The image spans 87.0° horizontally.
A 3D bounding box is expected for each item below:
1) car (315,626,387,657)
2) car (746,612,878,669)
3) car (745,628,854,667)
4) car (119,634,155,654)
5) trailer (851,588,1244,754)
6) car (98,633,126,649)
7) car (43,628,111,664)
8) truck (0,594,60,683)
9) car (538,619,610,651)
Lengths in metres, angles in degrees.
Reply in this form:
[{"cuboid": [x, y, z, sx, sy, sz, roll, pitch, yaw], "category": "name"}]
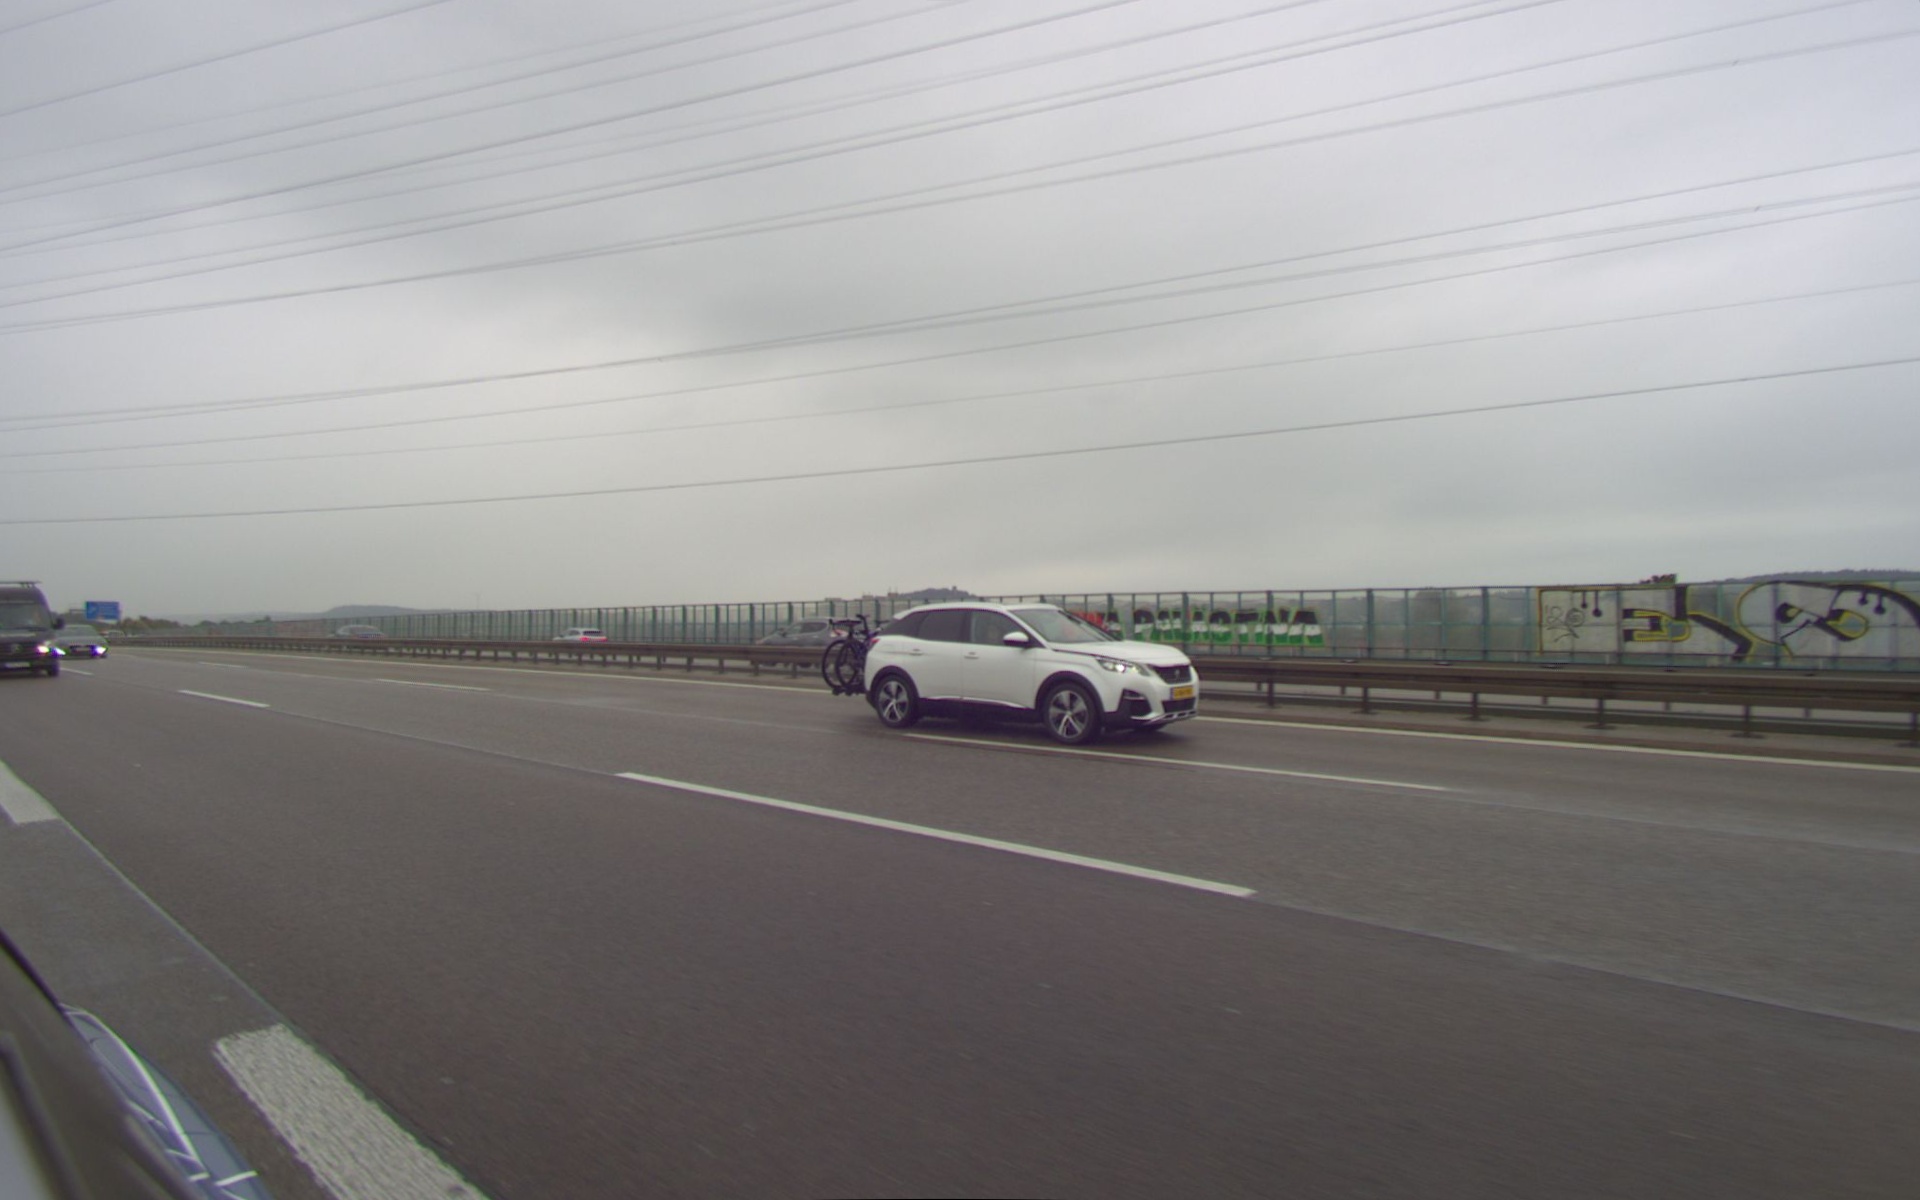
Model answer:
[{"cuboid": [-31.604, 2.141, 52.482, 4.465, 1.441, 1.822, -1, -4, 41], "category": "car"}, {"cuboid": [-4.971, 1.344, 33.579, 4.465, 1.757, 1.822, -1, -4, 41], "category": "car"}, {"cuboid": [-6.475, 1.896, 40.575, 4.465, 1.441, 1.822, -1, -4, 41], "category": "car"}, {"cuboid": [-76.624, 4.089, 94.213, 4.465, 1.757, 1.822, -1, -4, 41], "category": "car"}, {"cuboid": [0.883, 0.747, 12.175, 4.567, 1.637, 1.796, -1, -1, 42], "category": "trailer"}, {"cuboid": [-101.620, 4.918, 121.235, 4.465, 1.757, 1.901, -1, -1, 41], "category": "car"}, {"cuboid": [-37.423, 1.953, 42.834, 4.829, 1.413, 1.706, -3, -2, 43], "category": "car"}, {"cuboid": [-27.799, 1.037, 29.100, 6.106, 2.355, 1.973, 0, -1, 40], "category": "truck"}, {"cuboid": [-22.722, 2.022, 59.524, 4.699, 1.677, 1.973, 0, 0, 41], "category": "car"}]
